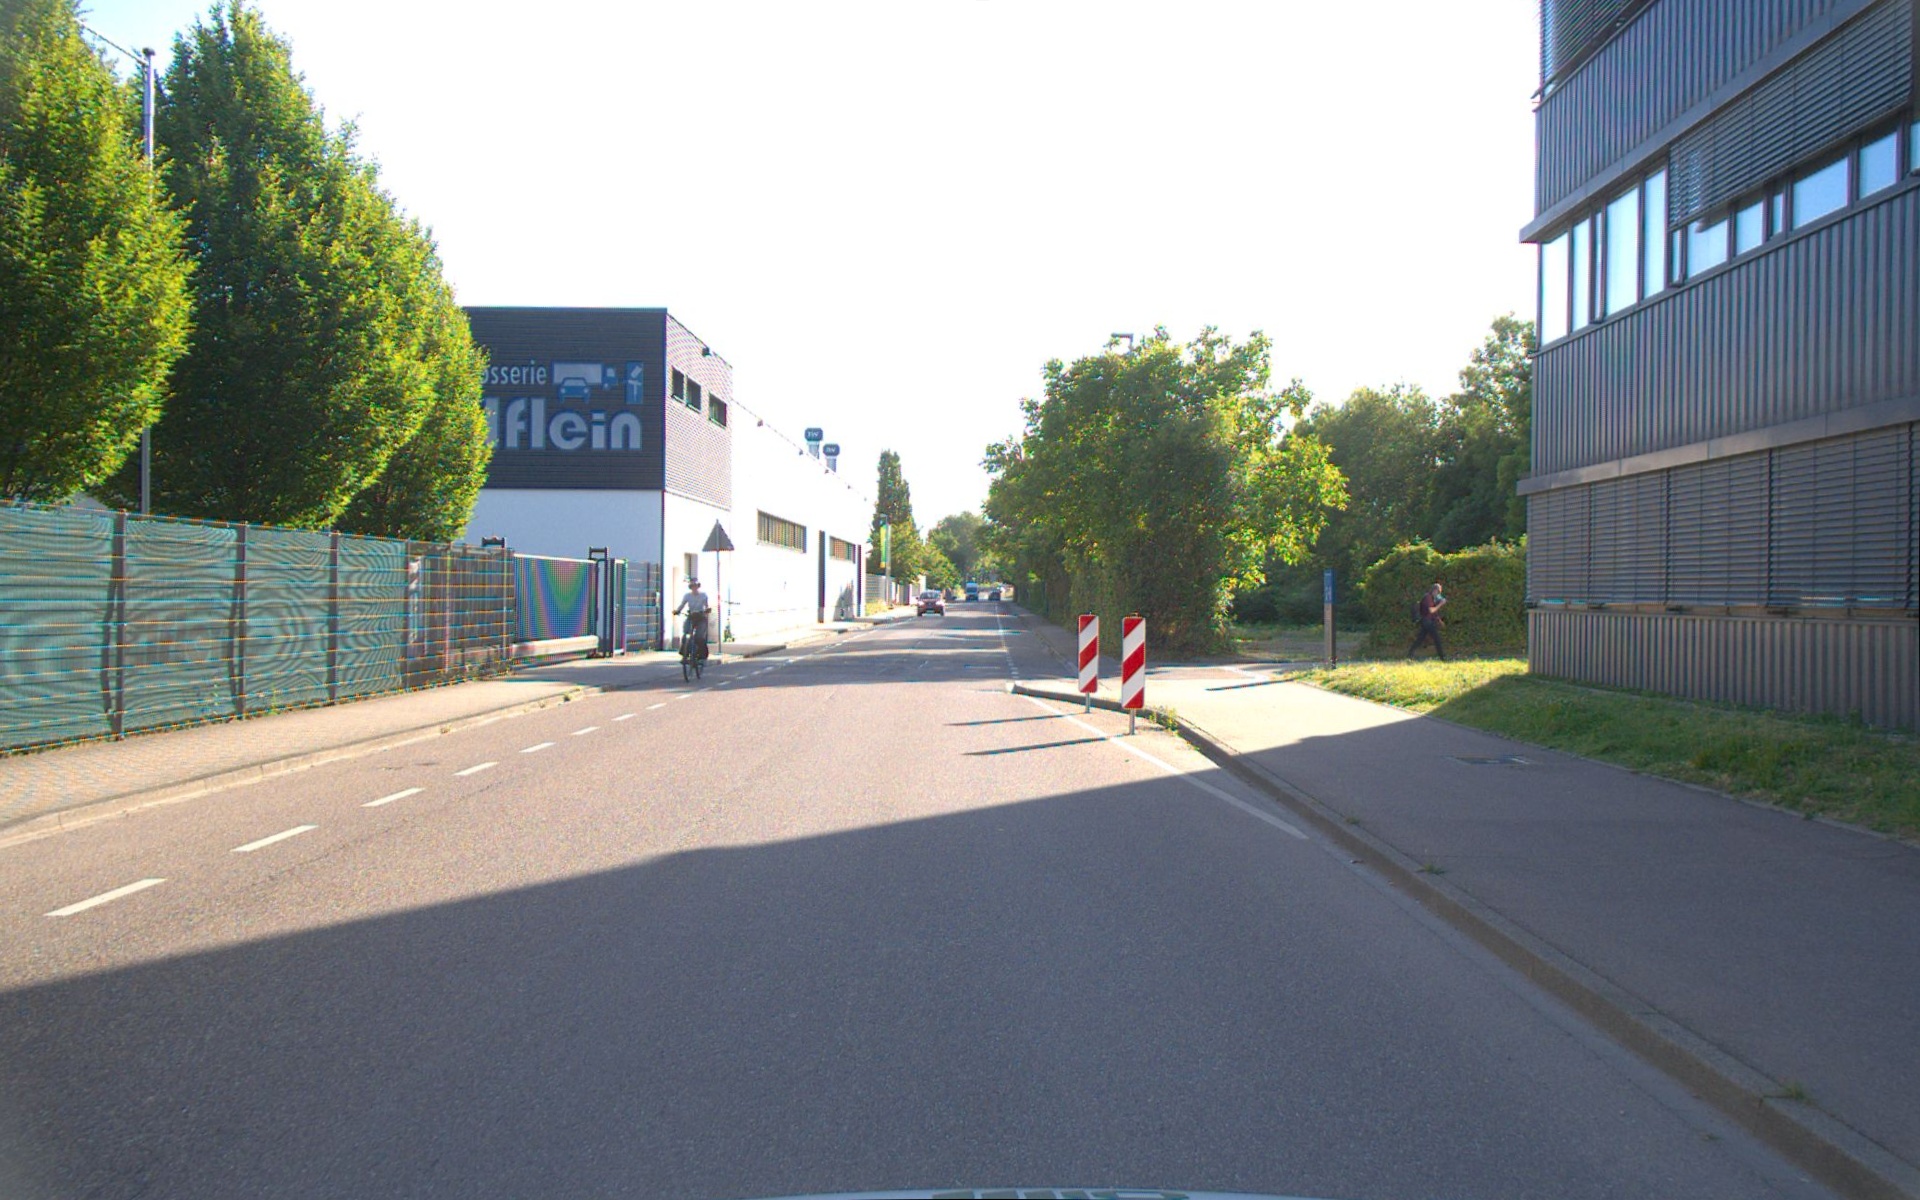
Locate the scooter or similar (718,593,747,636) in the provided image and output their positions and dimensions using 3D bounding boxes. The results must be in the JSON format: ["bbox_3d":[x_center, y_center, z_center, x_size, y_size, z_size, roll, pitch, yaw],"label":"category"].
[{"bbox_3d":[-6.744,0.422,49.026,0.496,1.224,1.754,3,0,1],"label":"scooter or similar"}]

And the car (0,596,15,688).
[{"bbox_3d":[-16.525,0.676,25.127,1.952,1.477,4.001,0,0,2],"label":"car"}]

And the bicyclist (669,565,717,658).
[{"bbox_3d":[-4.822,0.199,29.899,0.731,1.656,0.833,0,0,-1],"label":"bicyclist"}]

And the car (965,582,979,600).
[{"bbox_3d":[1.908,-1.384,256.962,2.079,2.829,5.927,-2,0,1],"label":"car"}]

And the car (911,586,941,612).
[{"bbox_3d":[-2.157,-0.059,104.597,1.781,1.515,4.000,-3,0,-1],"label":"car"}]

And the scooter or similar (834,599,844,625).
[{"bbox_3d":[-6.058,0.603,83.041,0.407,1.289,1.060,1,0,1],"label":"scooter or similar"}]

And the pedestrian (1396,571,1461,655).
[{"bbox_3d":[10.609,0.284,37.471,1.129,1.823,0.896,-2,0,-3],"label":"pedestrian"}]

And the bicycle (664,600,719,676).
[{"bbox_3d":[-4.833,0.670,29.896,0.653,1.311,2.172,0,0,0],"label":"bicycle"}]
